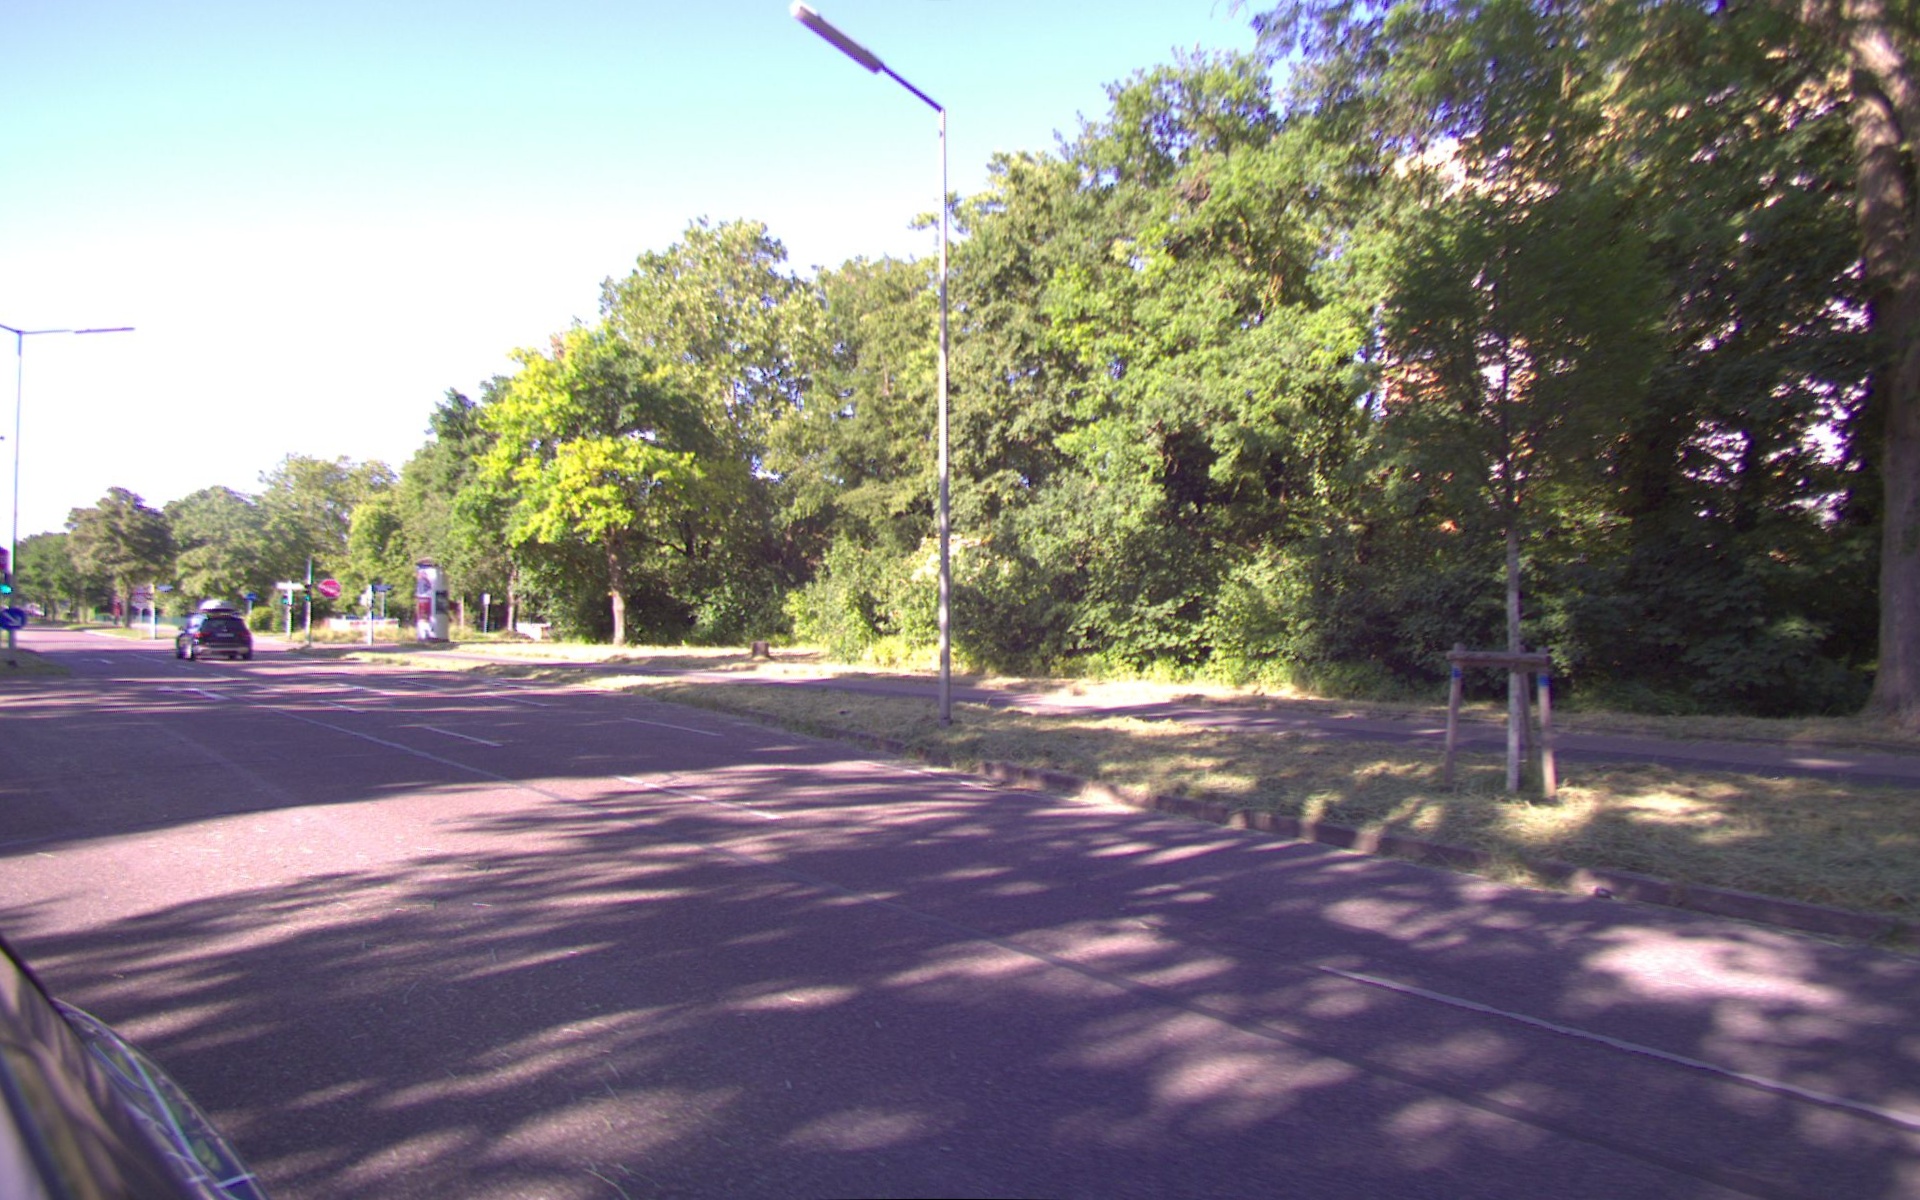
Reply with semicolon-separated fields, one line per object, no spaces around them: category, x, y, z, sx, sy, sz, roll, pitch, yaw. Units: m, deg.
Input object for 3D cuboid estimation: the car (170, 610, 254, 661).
car;-27.111;1.257;36.636;1.818;1.721;4.508;3;-3;-44
